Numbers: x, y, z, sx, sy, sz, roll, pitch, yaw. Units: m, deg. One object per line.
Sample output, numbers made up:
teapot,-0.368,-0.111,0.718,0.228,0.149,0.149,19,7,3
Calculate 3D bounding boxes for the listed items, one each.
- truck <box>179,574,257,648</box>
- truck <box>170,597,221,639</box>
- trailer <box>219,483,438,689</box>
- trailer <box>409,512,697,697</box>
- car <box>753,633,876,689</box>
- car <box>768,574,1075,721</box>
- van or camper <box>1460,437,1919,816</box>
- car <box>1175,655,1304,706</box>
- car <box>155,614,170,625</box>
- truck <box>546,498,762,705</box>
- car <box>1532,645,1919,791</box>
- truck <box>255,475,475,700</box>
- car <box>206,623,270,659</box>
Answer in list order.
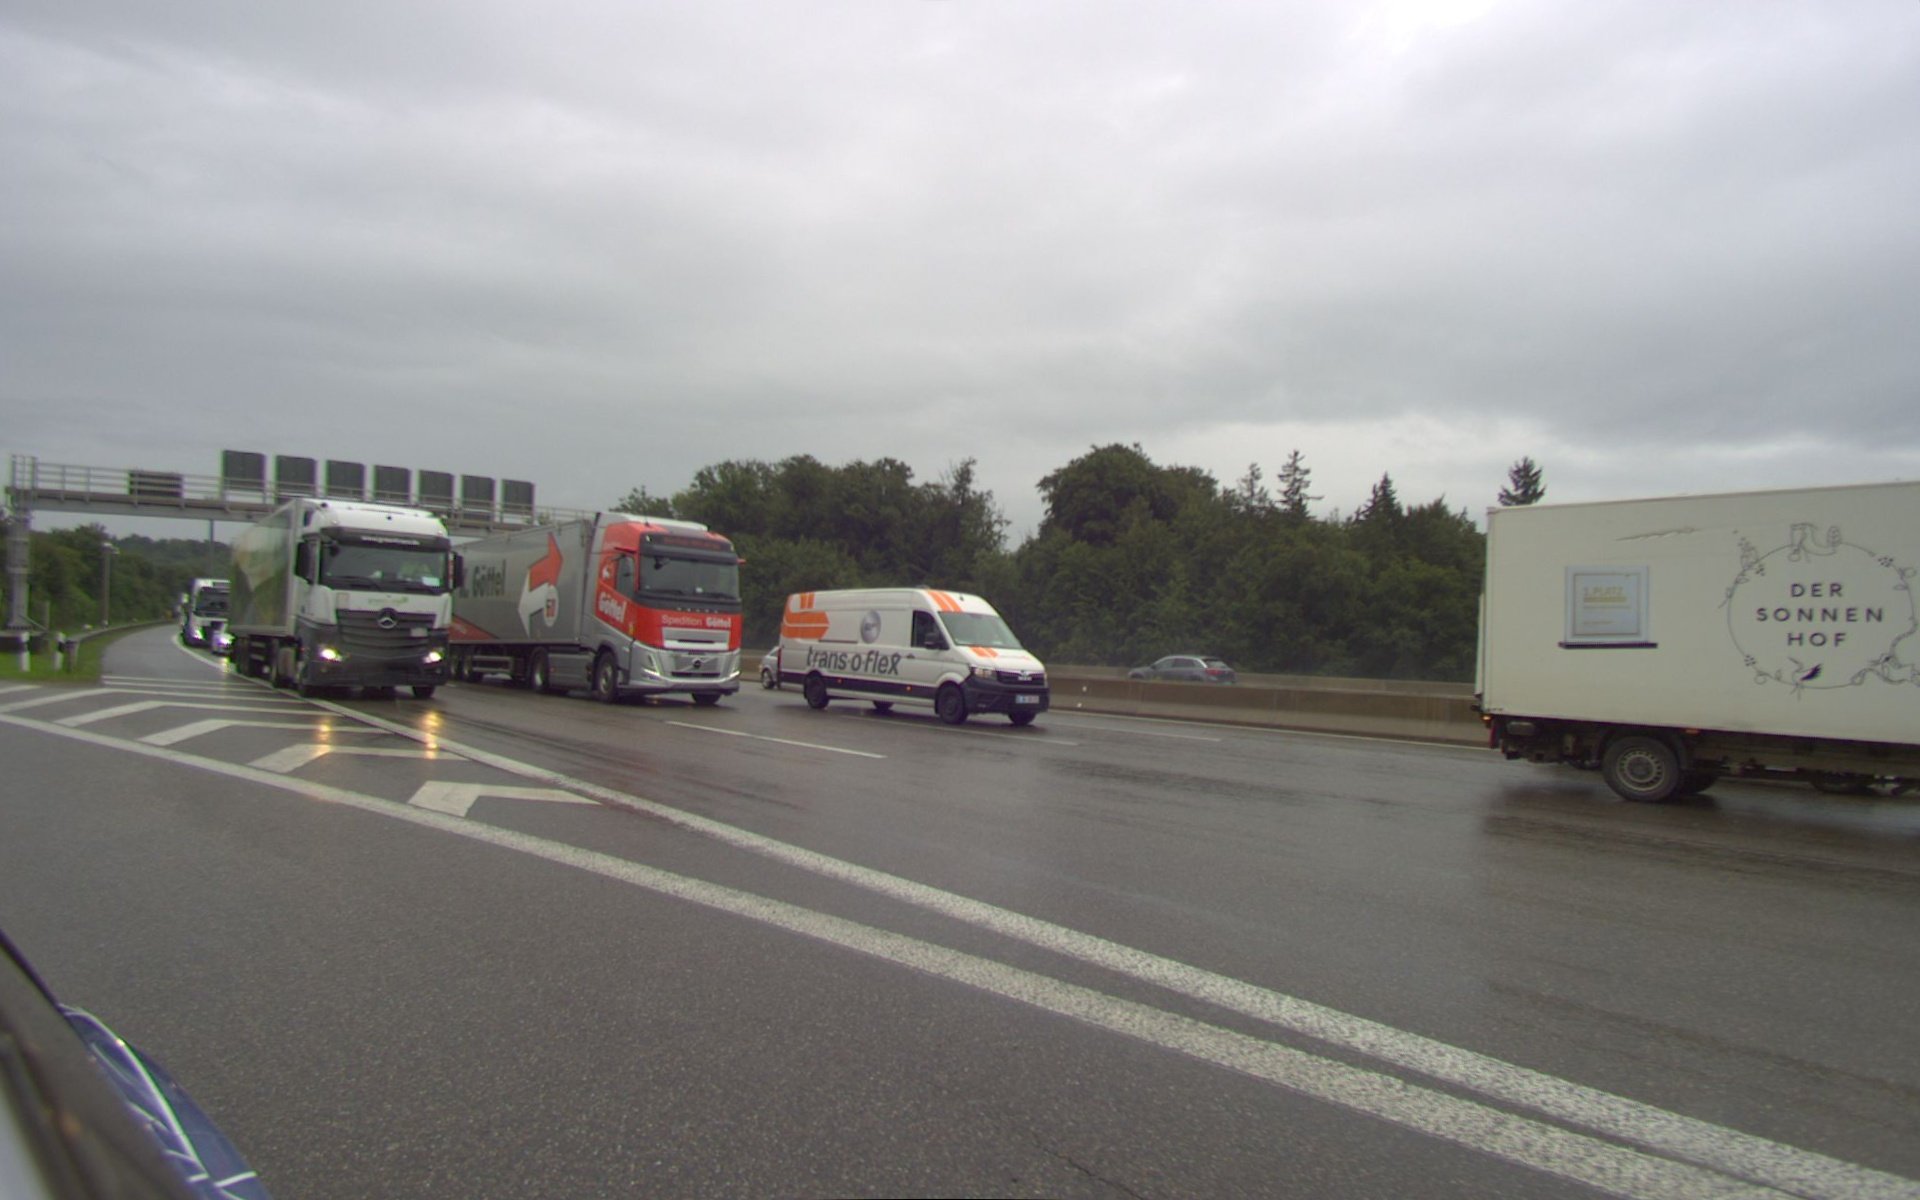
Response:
truck,-45.546,0.562,61.895,3.304,4.101,12.597,-1,1,-39
truck,-75.733,1.712,100.159,3.484,3.876,9.452,-1,1,-40
trailer,-17.289,-0.161,26.976,2.882,4.237,13.658,4,-3,-40
trailer,-11.569,0.271,27.289,2.595,3.893,13.694,4,-4,-41
car,-4.496,1.813,30.917,1.779,1.577,4.005,3,-3,-41
car,-1.103,0.918,20.778,2.121,2.507,7.376,4,-3,-41
van or camper,8.975,0.278,9.652,2.548,3.228,7.140,4,-3,-42
car,9.649,2.743,35.129,1.754,1.591,4.004,3,-3,-43
car,-136.289,3.334,172.922,1.790,1.770,4.694,3,-3,-39
truck,-6.635,0.127,21.681,2.595,3.893,4.594,4,-4,-42
car,10.081,1.407,13.072,1.595,1.534,4.421,4,-3,-41
truck,-13.118,-0.133,22.030,2.882,4.130,6.730,4,-3,-40
car,-33.134,1.846,46.364,1.903,1.534,4.769,4,-3,-41
